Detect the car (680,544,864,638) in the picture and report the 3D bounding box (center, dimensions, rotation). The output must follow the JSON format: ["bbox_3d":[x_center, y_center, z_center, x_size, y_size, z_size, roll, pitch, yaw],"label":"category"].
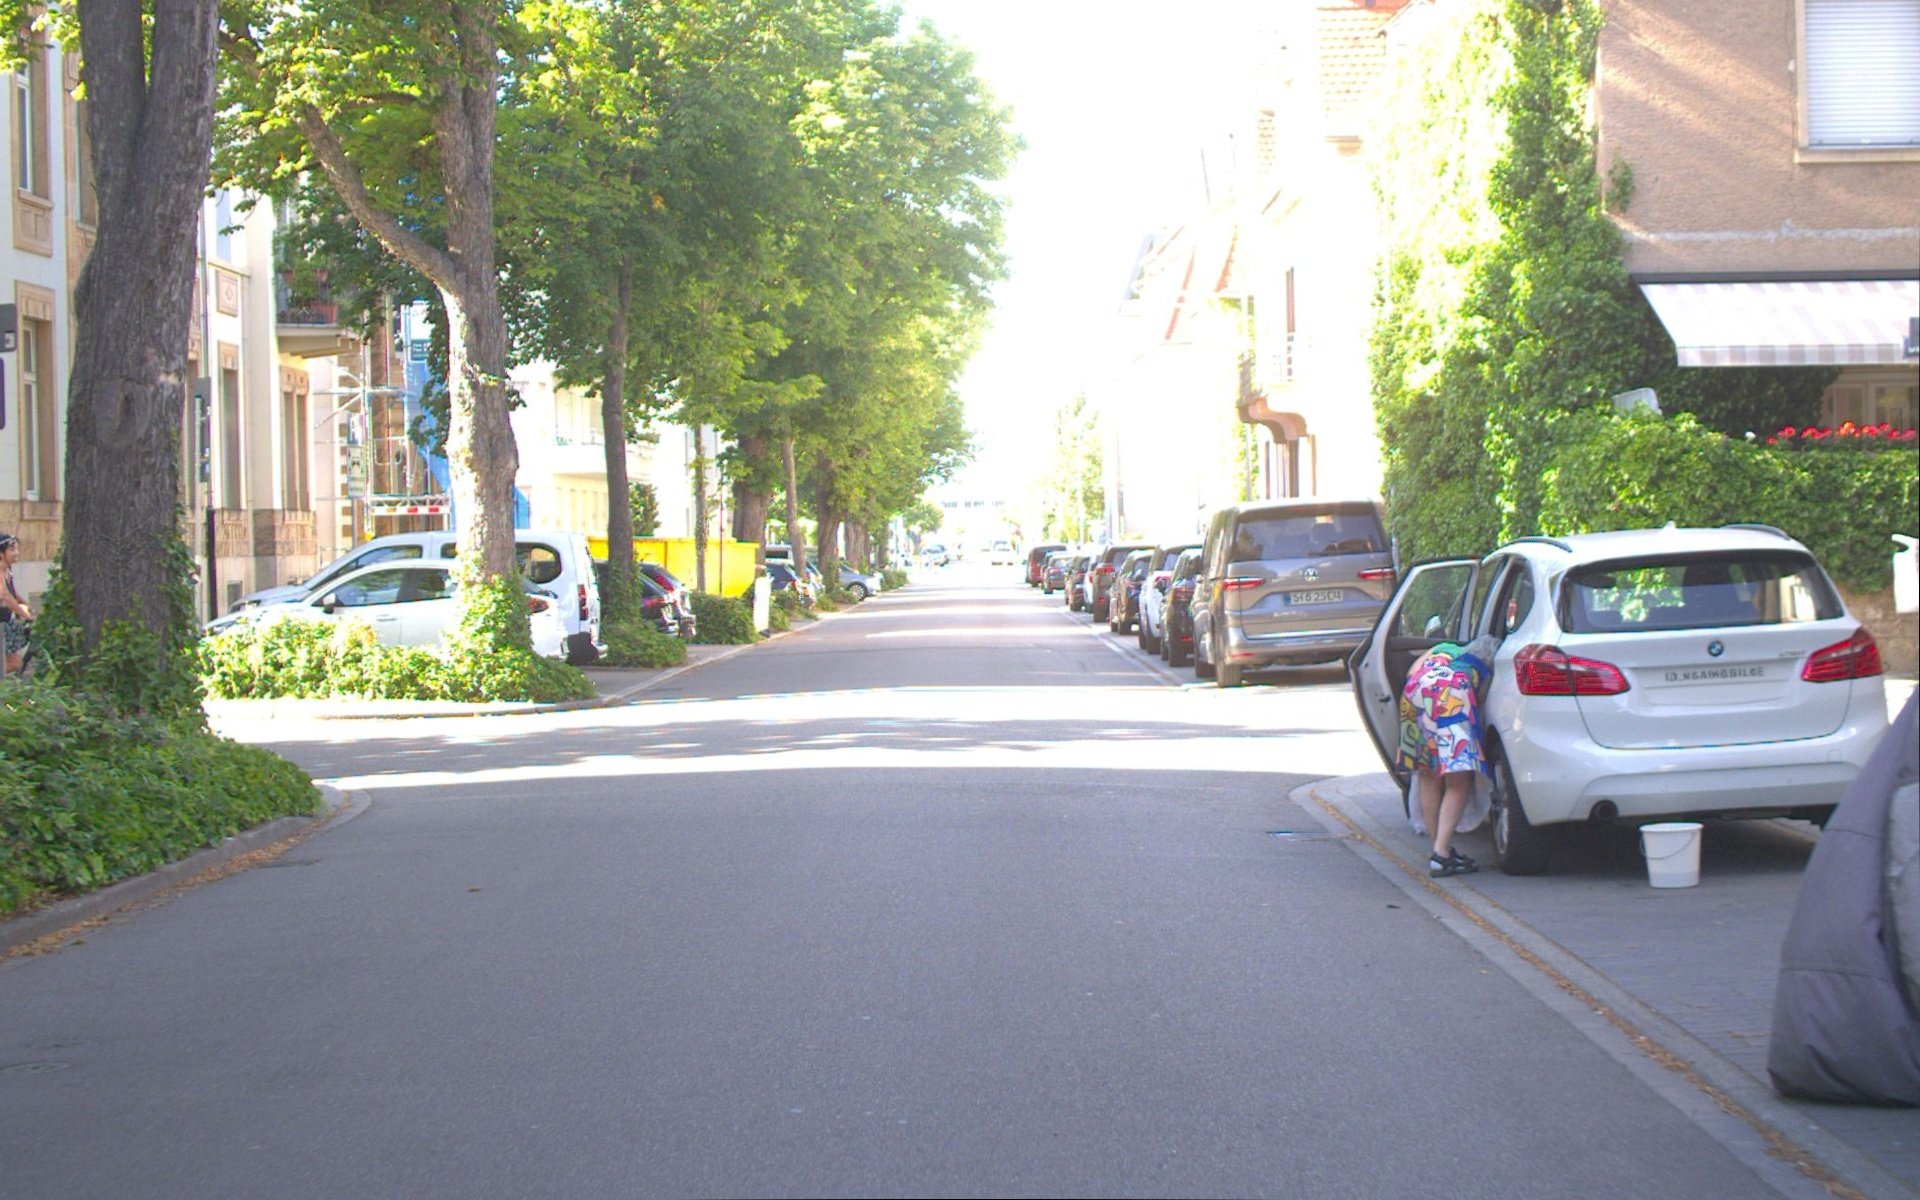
[{"bbox_3d":[-4.281,-0.197,77.891,3.986,2.007,2.000,-1,-1,-7],"label":"car"}]

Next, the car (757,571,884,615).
[{"bbox_3d":[-4.733,-0.247,116.973,3.990,1.404,1.701,-1,1,15],"label":"car"}]

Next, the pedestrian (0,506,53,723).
[{"bbox_3d":[-7.668,0.115,27.324,0.631,1.689,0.652,-3,1,4],"label":"pedestrian"}]

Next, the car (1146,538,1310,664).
[{"bbox_3d":[3.308,-0.017,43.013,1.690,1.394,3.805,-4,1,0],"label":"car"}]

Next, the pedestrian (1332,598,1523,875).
[{"bbox_3d":[2.210,0.631,16.300,0.723,1.253,0.646,-2,1,-7],"label":"pedestrian"}]

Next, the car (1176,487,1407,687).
[{"bbox_3d":[3.433,-0.176,36.440,1.904,1.864,4.673,-4,1,0],"label":"car"}]

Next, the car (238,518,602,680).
[{"bbox_3d":[-6.217,-0.013,39.952,3.986,1.755,1.798,1,0,-3],"label":"car"}]

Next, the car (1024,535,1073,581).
[{"bbox_3d":[3.230,-1.541,125.512,1.771,1.625,3.866,-1,1,1],"label":"car"}]

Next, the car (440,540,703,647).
[{"bbox_3d":[-6.072,-0.126,53.694,3.986,1.546,1.838,-1,1,-7],"label":"car"}]

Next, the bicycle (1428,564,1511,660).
[{"bbox_3d":[5.755,0.118,38.948,0.588,1.020,2.370,-1,1,0],"label":"bicycle"}]

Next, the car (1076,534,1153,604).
[{"bbox_3d":[3.736,-0.774,83.810,1.771,1.625,3.866,-1,1,1],"label":"car"}]

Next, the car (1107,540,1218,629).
[{"bbox_3d":[3.498,-0.295,59.907,1.771,1.450,3.866,-1,1,1],"label":"car"}]

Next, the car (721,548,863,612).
[{"bbox_3d":[-4.949,-0.603,101.861,4.006,1.729,1.894,1,2,3],"label":"car"}]

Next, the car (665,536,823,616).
[{"bbox_3d":[-5.697,-0.641,90.561,3.986,2.007,2.000,-1,1,-7],"label":"car"}]

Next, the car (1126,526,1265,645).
[{"bbox_3d":[3.312,-0.235,48.958,1.789,1.612,3.866,-1,1,1],"label":"car"}]

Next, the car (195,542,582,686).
[{"bbox_3d":[-6.204,0.148,37.651,3.986,1.459,1.798,1,0,-3],"label":"car"}]

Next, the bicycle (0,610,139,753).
[{"bbox_3d":[-7.643,0.664,27.330,1.991,1.062,0.760,-2,2,4],"label":"bicycle"}]

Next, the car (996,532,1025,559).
[{"bbox_3d":[3.209,-3.445,217.346,1.771,1.625,3.866,-1,1,1],"label":"car"}]

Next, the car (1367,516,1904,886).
[{"bbox_3d":[3.223,0.413,17.223,1.699,1.534,4.156,-3,1,-1],"label":"car"}]

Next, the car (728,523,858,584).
[{"bbox_3d":[-5.389,-1.508,111.207,4.006,1.835,2.000,1,2,3],"label":"car"}]

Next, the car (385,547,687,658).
[{"bbox_3d":[-5.977,0.018,48.774,3.987,1.464,1.864,-1,2,2],"label":"car"}]

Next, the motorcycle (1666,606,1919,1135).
[{"bbox_3d":[3.053,0.681,8.885,2.197,1.334,0.919,-1,0,33],"label":"motorcycle"}]

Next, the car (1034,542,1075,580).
[{"bbox_3d":[4.234,-1.764,154.378,1.771,1.625,3.866,-1,1,1],"label":"car"}]

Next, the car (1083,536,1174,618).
[{"bbox_3d":[3.477,-0.491,71.420,1.771,1.625,3.866,-1,1,1],"label":"car"}]
